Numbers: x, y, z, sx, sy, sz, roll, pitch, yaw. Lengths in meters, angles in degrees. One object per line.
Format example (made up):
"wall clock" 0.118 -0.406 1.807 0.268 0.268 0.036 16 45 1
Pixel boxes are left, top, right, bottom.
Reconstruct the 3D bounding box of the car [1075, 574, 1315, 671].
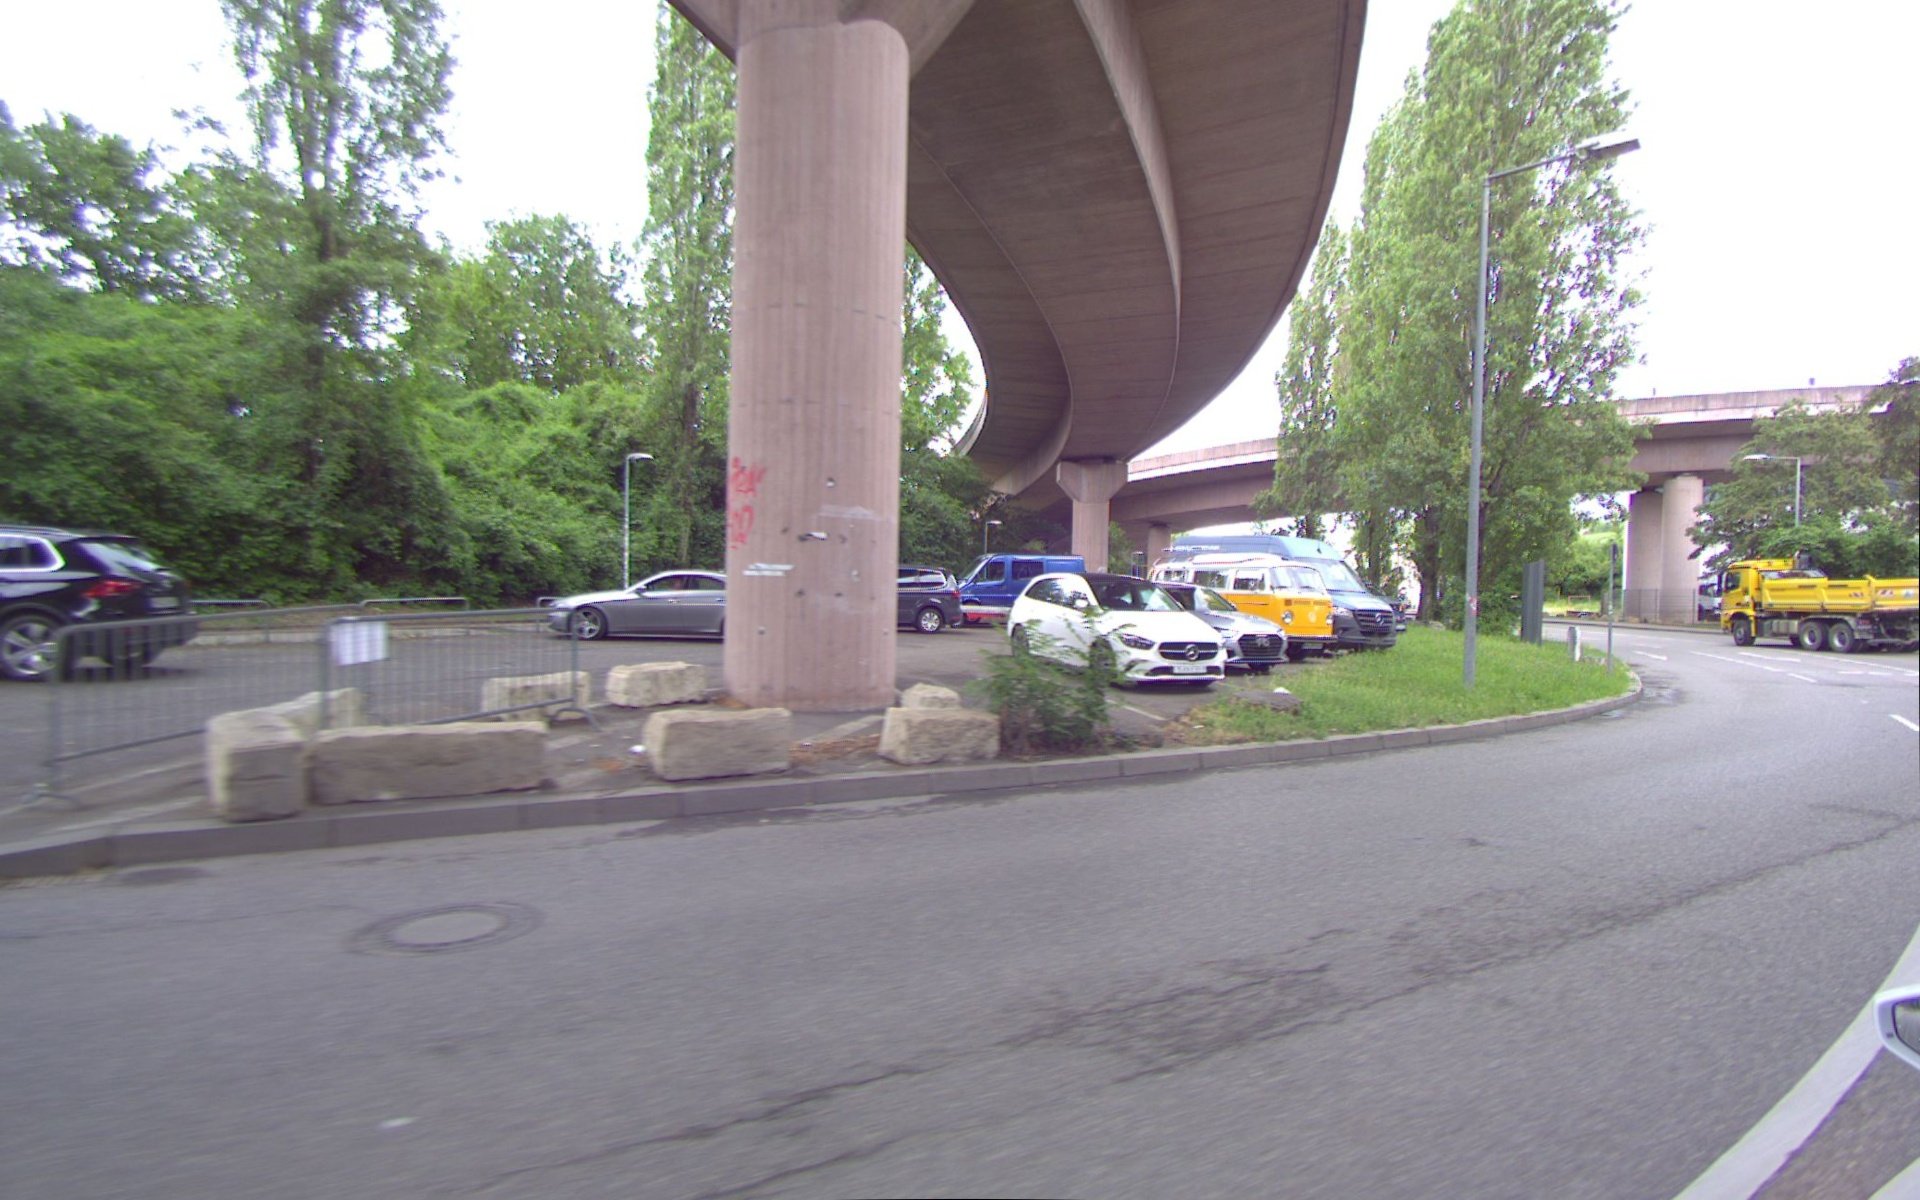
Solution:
"car" 3.995 0.314 17.857 1.973 1.390 4.231 1 3 -24

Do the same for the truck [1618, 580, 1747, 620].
"truck" 48.782 -0.010 68.126 2.677 2.586 7.214 0 0 -12

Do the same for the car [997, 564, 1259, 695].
"car" 2.349 0.318 15.382 1.926 1.627 4.370 1 3 -22

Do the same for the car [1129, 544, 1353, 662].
"car" 5.598 -0.005 20.662 1.827 2.139 4.539 1 1 -27

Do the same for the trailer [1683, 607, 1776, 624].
"trailer" 45.776 0.905 59.953 2.113 0.753 6.296 -3 0 15

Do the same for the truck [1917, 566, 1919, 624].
"truck" 61.069 -0.243 60.726 3.012 3.668 7.895 0 2 31

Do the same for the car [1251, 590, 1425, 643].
"car" 11.758 0.495 31.522 2.058 1.508 4.801 0 0 -38

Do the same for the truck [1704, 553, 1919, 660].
"truck" 32.543 0.041 38.138 2.877 3.529 8.245 -2 3 4

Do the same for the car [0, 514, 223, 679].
"car" -11.073 -0.076 11.253 4.091 1.714 1.858 1 1 -12

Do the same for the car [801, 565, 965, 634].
"car" -2.049 0.019 26.028 4.079 1.698 1.898 0 -1 -10

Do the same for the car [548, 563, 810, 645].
"car" -5.462 0.065 20.000 4.803 1.508 1.858 0 3 -12

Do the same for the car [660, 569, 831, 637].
"car" -4.891 0.088 22.801 3.675 1.460 1.643 0 -1 -18

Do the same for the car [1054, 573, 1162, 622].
"car" 6.492 -0.099 44.192 4.226 1.824 1.843 -4 0 -11

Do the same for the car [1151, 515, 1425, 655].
"car" 7.237 -0.365 23.093 2.336 2.761 6.154 0 2 -26

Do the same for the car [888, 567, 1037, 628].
"car" 0.036 -0.045 29.377 4.081 1.698 1.897 0 -1 -12

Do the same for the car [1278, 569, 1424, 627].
"car" 15.313 -0.072 39.642 2.234 2.099 5.063 2 -1 -31

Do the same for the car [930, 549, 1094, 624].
"car" 1.656 -0.384 32.518 4.933 2.284 2.118 0 -1 -15
